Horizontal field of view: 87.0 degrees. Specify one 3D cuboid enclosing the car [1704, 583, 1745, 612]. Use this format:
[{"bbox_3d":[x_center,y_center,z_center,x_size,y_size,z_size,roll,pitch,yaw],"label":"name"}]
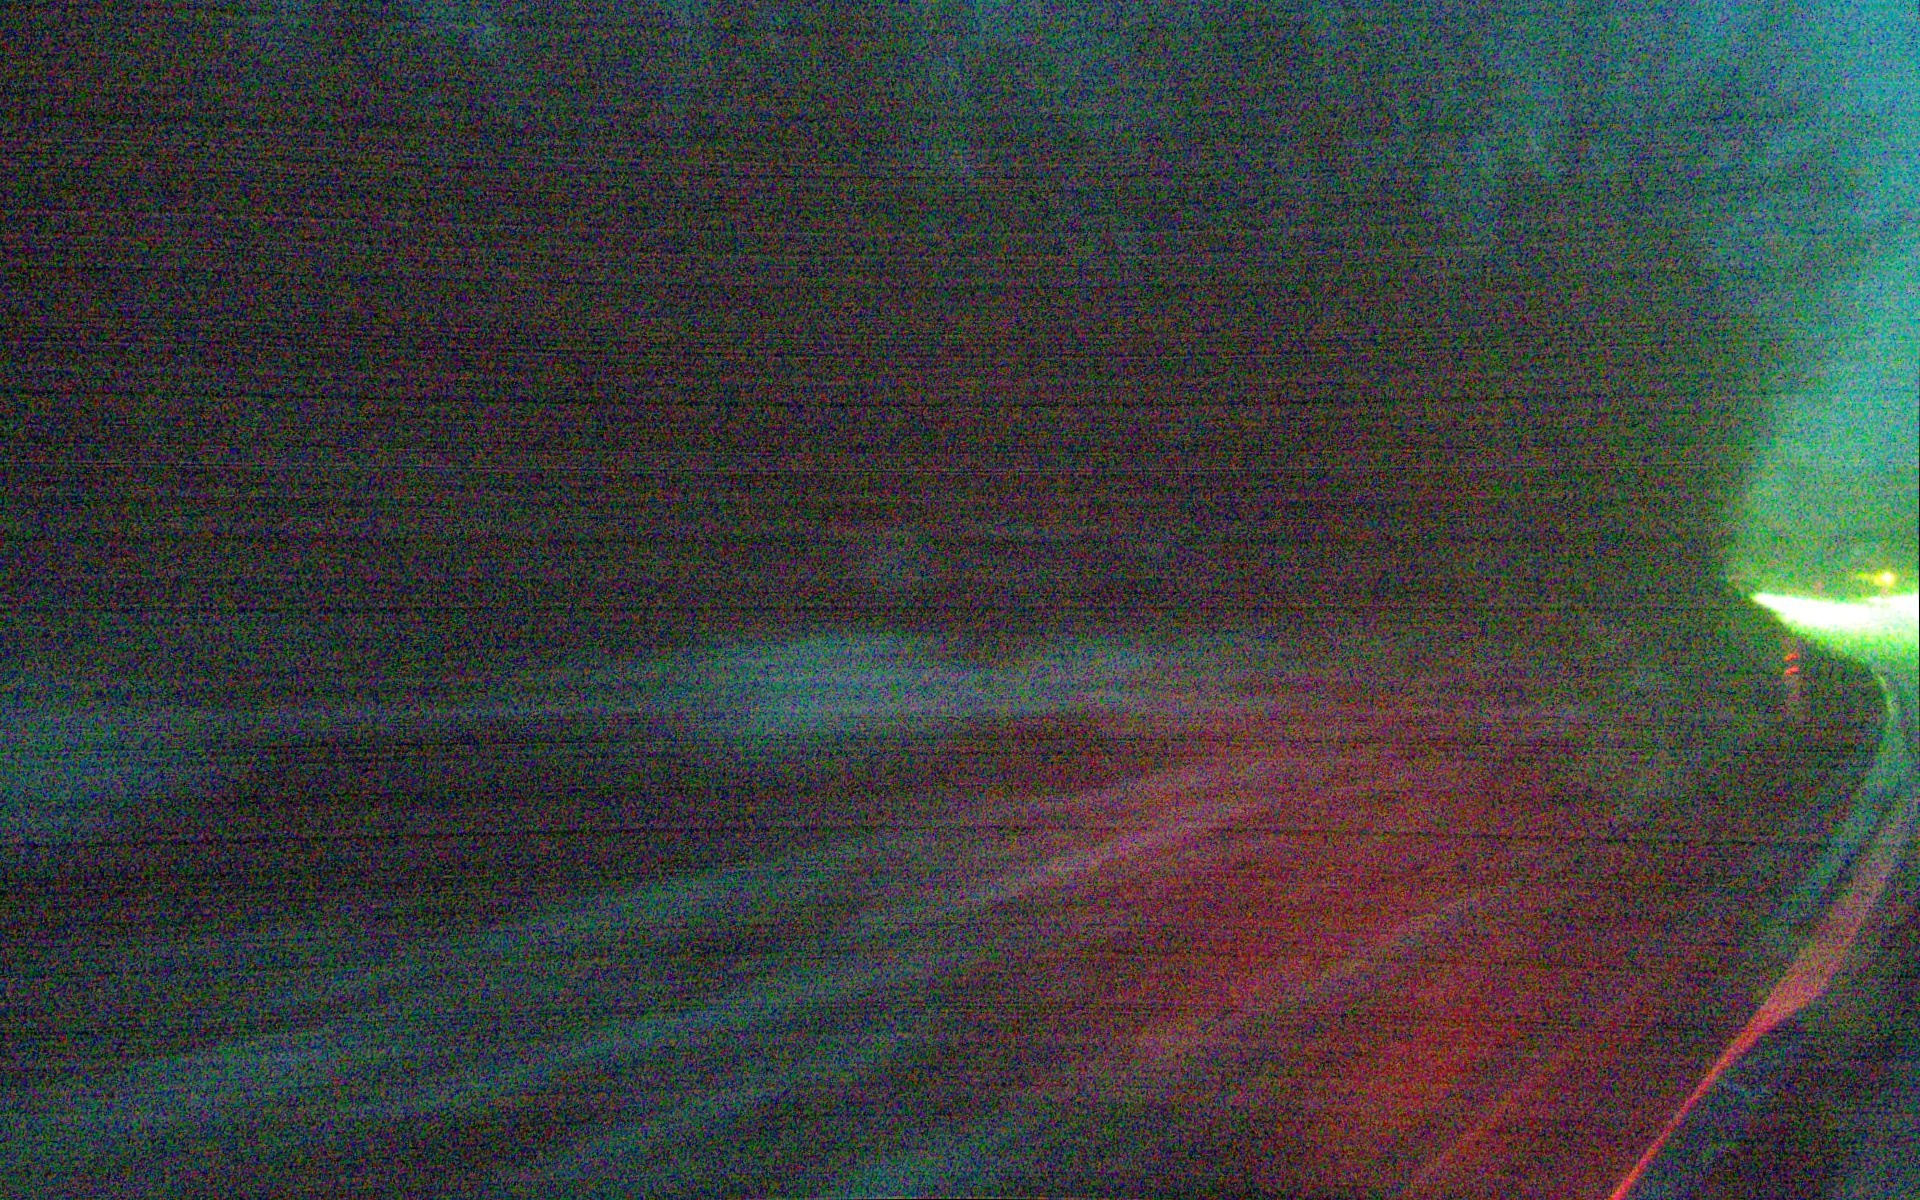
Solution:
[{"bbox_3d":[54.186,-0.204,71.750,1.783,1.873,3.607,-1,2,29],"label":"car"}]
